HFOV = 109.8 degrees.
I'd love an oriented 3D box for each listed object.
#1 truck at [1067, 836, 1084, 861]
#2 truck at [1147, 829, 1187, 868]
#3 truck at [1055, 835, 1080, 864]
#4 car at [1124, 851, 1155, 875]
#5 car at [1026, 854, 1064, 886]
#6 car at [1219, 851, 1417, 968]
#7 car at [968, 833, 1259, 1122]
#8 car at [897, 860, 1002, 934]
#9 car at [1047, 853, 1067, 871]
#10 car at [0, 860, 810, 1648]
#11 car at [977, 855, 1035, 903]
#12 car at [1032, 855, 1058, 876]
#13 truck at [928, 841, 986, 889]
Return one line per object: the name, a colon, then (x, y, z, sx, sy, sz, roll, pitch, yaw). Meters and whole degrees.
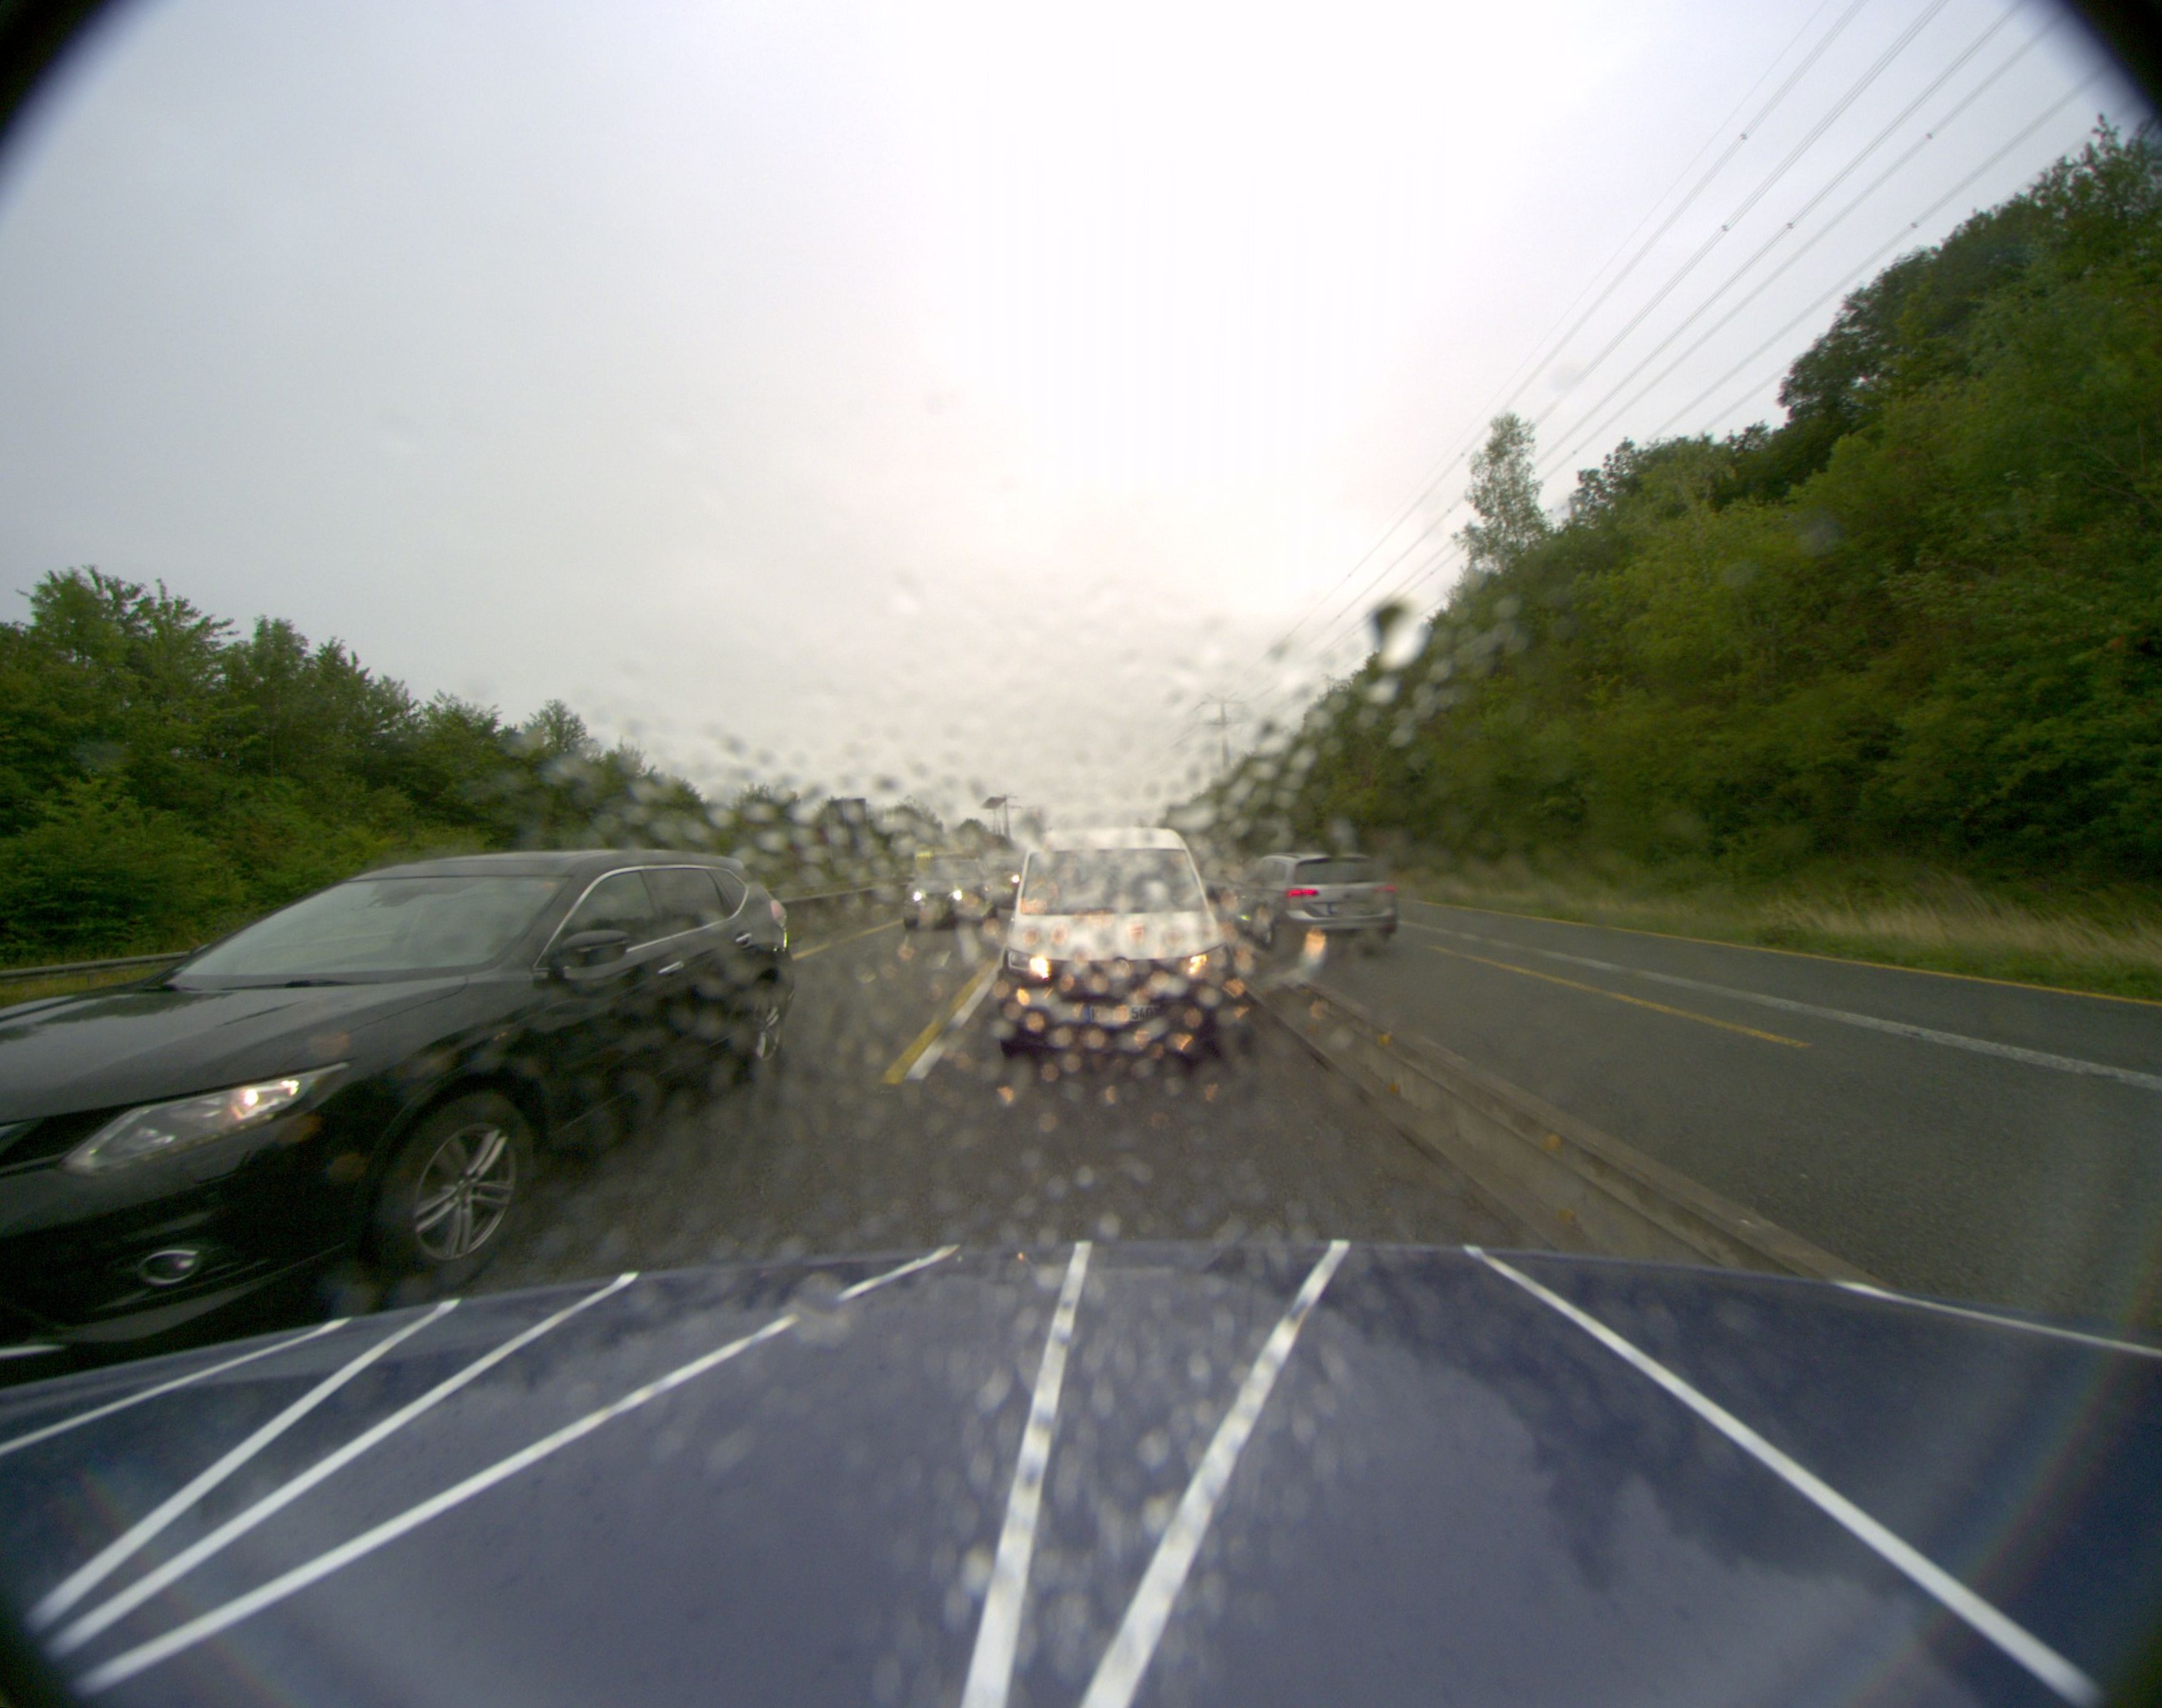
truck: (-0.907, -0.847, 124.805, 2.619, 3.869, 9.574, -2, 1, 0)
truck: (7.966, -0.546, 71.621, 2.541, 3.333, 12.049, -2, 1, 1)
truck: (-1.703, -0.618, 98.735, 2.619, 3.404, 9.575, -2, 1, 2)
car: (4.079, 0.578, 53.569, 1.815, 1.550, 3.989, -2, 1, 0)
car: (-1.834, 0.793, 40.001, 1.784, 1.482, 4.123, -2, 1, 0)
car: (3.583, 0.733, 12.400, 1.815, 1.479, 4.396, -2, 1, 0)
car: (0.200, 0.756, 7.154, 1.784, 1.775, 4.697, -2, 1, 0)
car: (-3.061, 0.950, 18.517, 1.784, 1.482, 4.123, -2, 1, 0)
car: (-2.254, 0.742, 72.416, 1.784, 1.482, 4.123, -2, 1, 0)
car: (-3.224, 0.939, 3.988, 1.894, 1.665, 4.640, -2, 1, 0)
car: (-2.800, 0.886, 29.172, 1.784, 1.589, 4.123, -2, 1, 0)
car: (-2.719, 0.845, 57.983, 1.784, 1.482, 4.123, -2, 1, 0)
truck: (-9.780, 0.751, 60.910, 2.619, 3.404, 9.575, -2, 1, 2)
